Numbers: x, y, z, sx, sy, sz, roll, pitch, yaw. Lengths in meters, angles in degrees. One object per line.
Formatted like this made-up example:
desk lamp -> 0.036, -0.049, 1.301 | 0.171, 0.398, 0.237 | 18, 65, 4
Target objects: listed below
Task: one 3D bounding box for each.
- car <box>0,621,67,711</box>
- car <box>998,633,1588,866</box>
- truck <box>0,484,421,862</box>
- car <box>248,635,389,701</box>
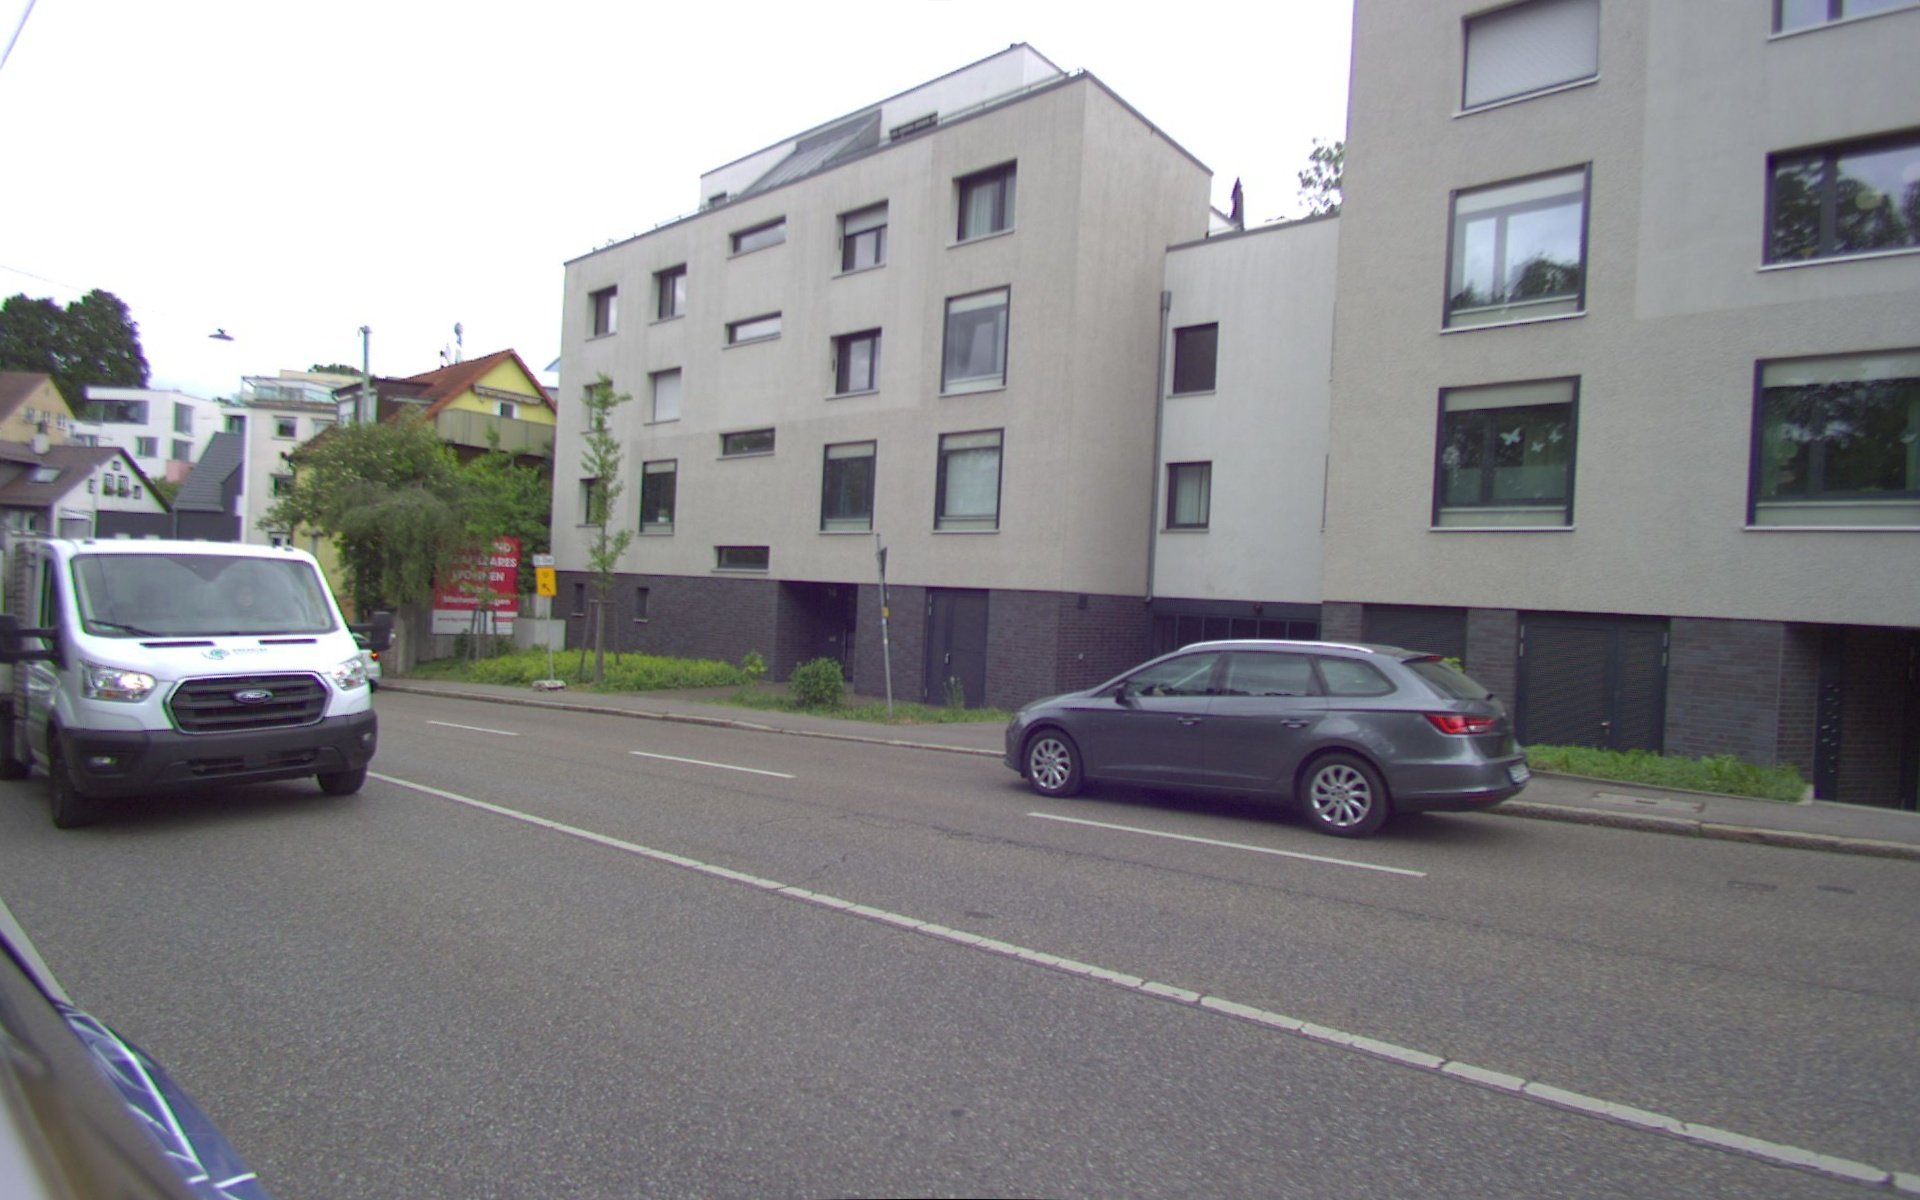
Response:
car -> -18.637, 1.213, 19.191 | 4.397, 1.492, 1.892 | 0, 2, 40
car -> 2.580, 1.036, 8.556 | 4.421, 1.475, 1.714 | -2, -4, 41
truck -> -7.290, 0.523, 9.075 | 6.325, 2.339, 2.055 | -2, -2, 39
car -> -15.653, 1.602, 24.625 | 4.189, 1.475, 1.755 | -2, -3, 41
